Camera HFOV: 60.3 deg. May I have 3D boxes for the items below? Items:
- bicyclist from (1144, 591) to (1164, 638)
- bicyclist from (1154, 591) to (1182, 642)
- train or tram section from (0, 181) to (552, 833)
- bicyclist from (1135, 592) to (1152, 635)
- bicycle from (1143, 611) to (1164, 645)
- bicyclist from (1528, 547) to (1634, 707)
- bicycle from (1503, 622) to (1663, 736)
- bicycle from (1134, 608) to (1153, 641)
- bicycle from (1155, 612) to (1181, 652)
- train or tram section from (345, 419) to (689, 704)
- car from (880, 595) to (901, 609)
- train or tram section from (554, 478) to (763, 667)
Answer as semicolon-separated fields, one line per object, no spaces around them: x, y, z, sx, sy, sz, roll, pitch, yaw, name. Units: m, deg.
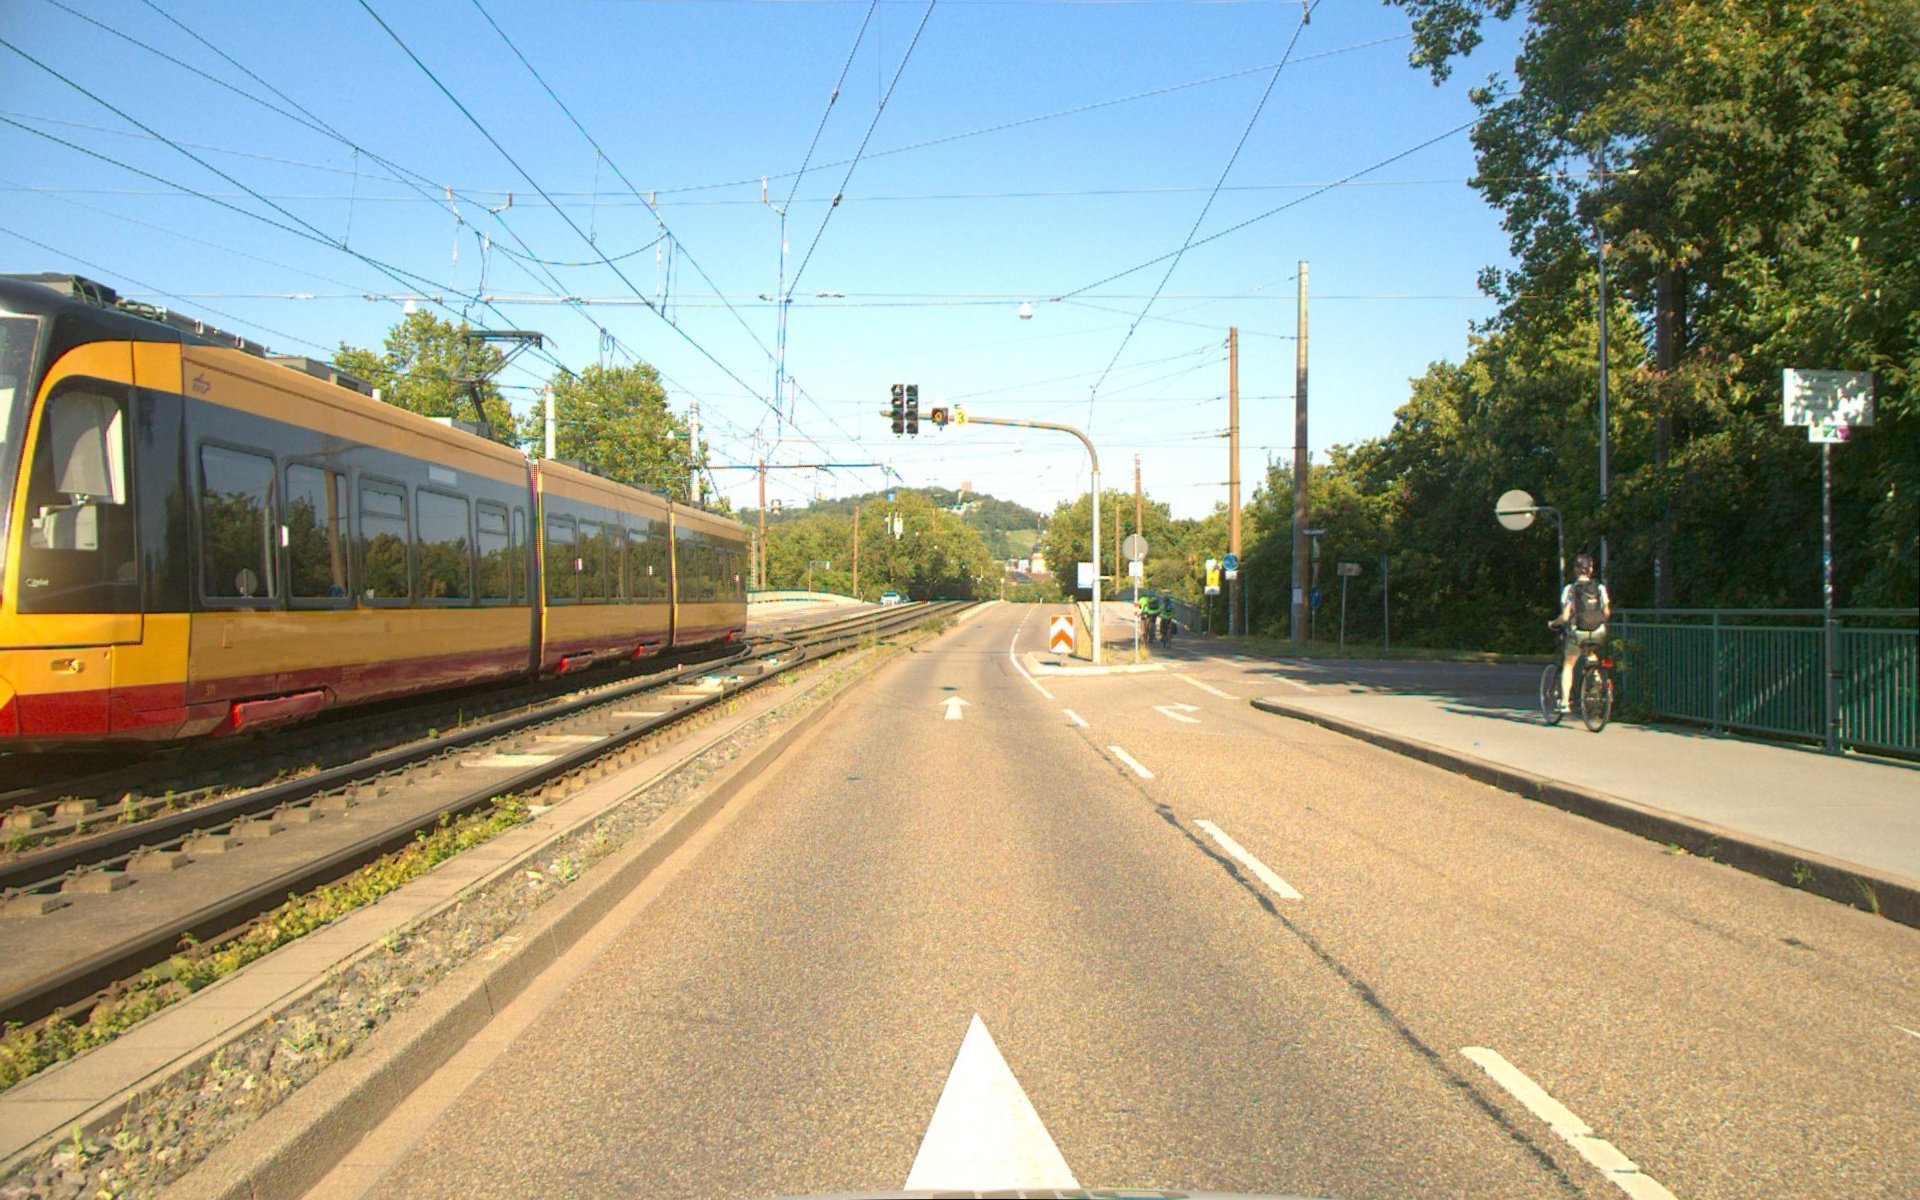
6.752;0.500;57.512;0.612;1.620;0.931;0;0;3;bicyclist
6.515;0.513;51.937;0.795;1.589;0.897;0;1;3;bicyclist
-7.166;-0.574;16.574;2.942;3.969;13.079;0;0;0;train or tram section
6.701;0.496;60.414;0.612;1.534;1.007;0;0;7;bicyclist
6.699;0.945;57.282;0.612;1.142;2.043;0;0;3;bicycle
6.935;0.294;18.511;0.716;1.719;1.202;1;0;-1;bicyclist
6.917;0.839;18.535;0.716;1.142;2.741;1;0;-1;bicycle
6.705;0.885;60.385;0.612;1.142;2.261;1;0;7;bicycle
6.521;0.989;51.962;0.669;1.142;2.217;0;1;3;bicycle
-7.154;-0.543;28.967;2.915;3.969;11.663;0;0;0;train or tram section
-7.147;0.230;171.043;1.648;1.380;4.922;0;0;3;car
-7.104;-0.572;41.149;2.917;3.969;12.700;0;0;0;train or tram section
